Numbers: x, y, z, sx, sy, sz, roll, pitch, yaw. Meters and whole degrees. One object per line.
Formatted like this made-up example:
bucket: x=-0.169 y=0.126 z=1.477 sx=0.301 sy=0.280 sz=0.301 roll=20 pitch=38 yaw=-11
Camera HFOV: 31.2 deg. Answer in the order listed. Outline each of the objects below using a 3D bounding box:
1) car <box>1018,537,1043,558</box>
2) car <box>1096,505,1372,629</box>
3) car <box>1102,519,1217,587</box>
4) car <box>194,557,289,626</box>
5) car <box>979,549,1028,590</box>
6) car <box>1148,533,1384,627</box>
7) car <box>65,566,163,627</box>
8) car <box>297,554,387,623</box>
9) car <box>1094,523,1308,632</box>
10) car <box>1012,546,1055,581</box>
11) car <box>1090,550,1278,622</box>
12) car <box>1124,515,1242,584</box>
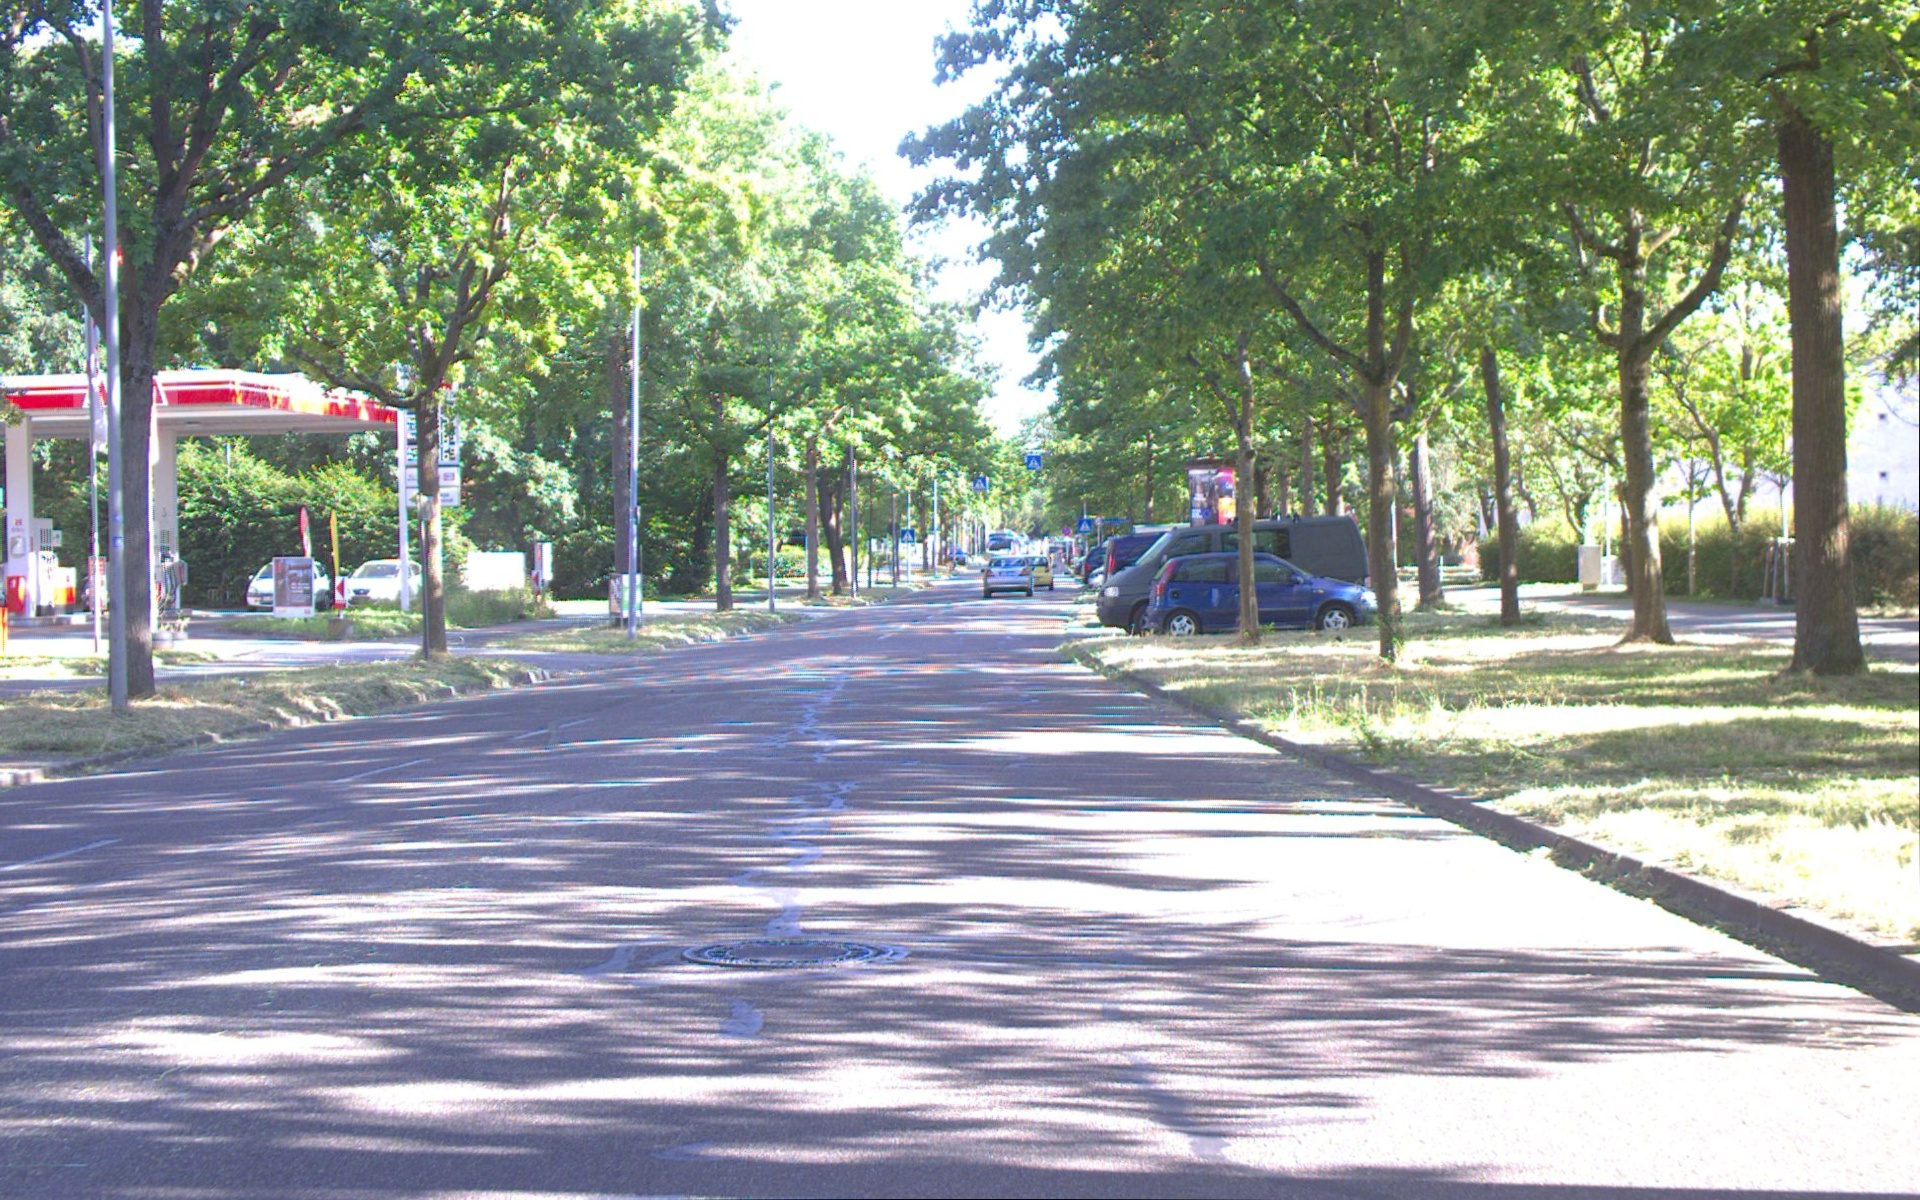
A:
car: x=4.866 y=-3.622 z=237.240 sx=1.661 sy=1.332 sz=3.665 roll=-2 pitch=0 yaw=0
car: x=4.609 y=-0.541 z=58.293 sx=4.502 sy=1.946 sz=1.687 roll=-2 pitch=0 yaw=1
car: x=6.387 y=-1.495 z=110.154 sx=3.567 sy=2.044 sz=1.575 roll=-2 pitch=-1 yaw=1
car: x=-19.630 y=-0.216 z=94.064 sx=1.801 sy=1.817 sz=3.805 roll=-2 pitch=0 yaw=-1
car: x=1.516 y=-1.037 z=119.891 sx=1.661 sy=1.332 sz=3.665 roll=-2 pitch=0 yaw=0
car: x=4.902 y=-0.313 z=55.306 sx=3.653 sy=1.393 sz=1.317 roll=-2 pitch=0 yaw=1
car: x=-23.775 y=-0.085 z=96.694 sx=1.801 sy=1.615 sz=3.805 roll=-2 pitch=0 yaw=0
car: x=-16.855 y=-0.293 z=93.923 sx=1.801 sy=1.817 sz=3.805 roll=-2 pitch=0 yaw=-1
car: x=4.240 y=-0.389 z=60.792 sx=3.653 sy=1.791 sz=1.317 roll=-2 pitch=-1 yaw=1
car: x=3.009 y=-1.476 z=140.974 sx=1.661 sy=1.332 sz=3.665 roll=-2 pitch=0 yaw=0
car: x=4.460 y=-0.268 z=68.819 sx=3.653 sy=1.325 sz=1.317 roll=-2 pitch=0 yaw=1
car: x=6.998 y=-1.574 z=108.003 sx=3.567 sy=2.044 sz=1.633 roll=-2 pitch=0 yaw=1
